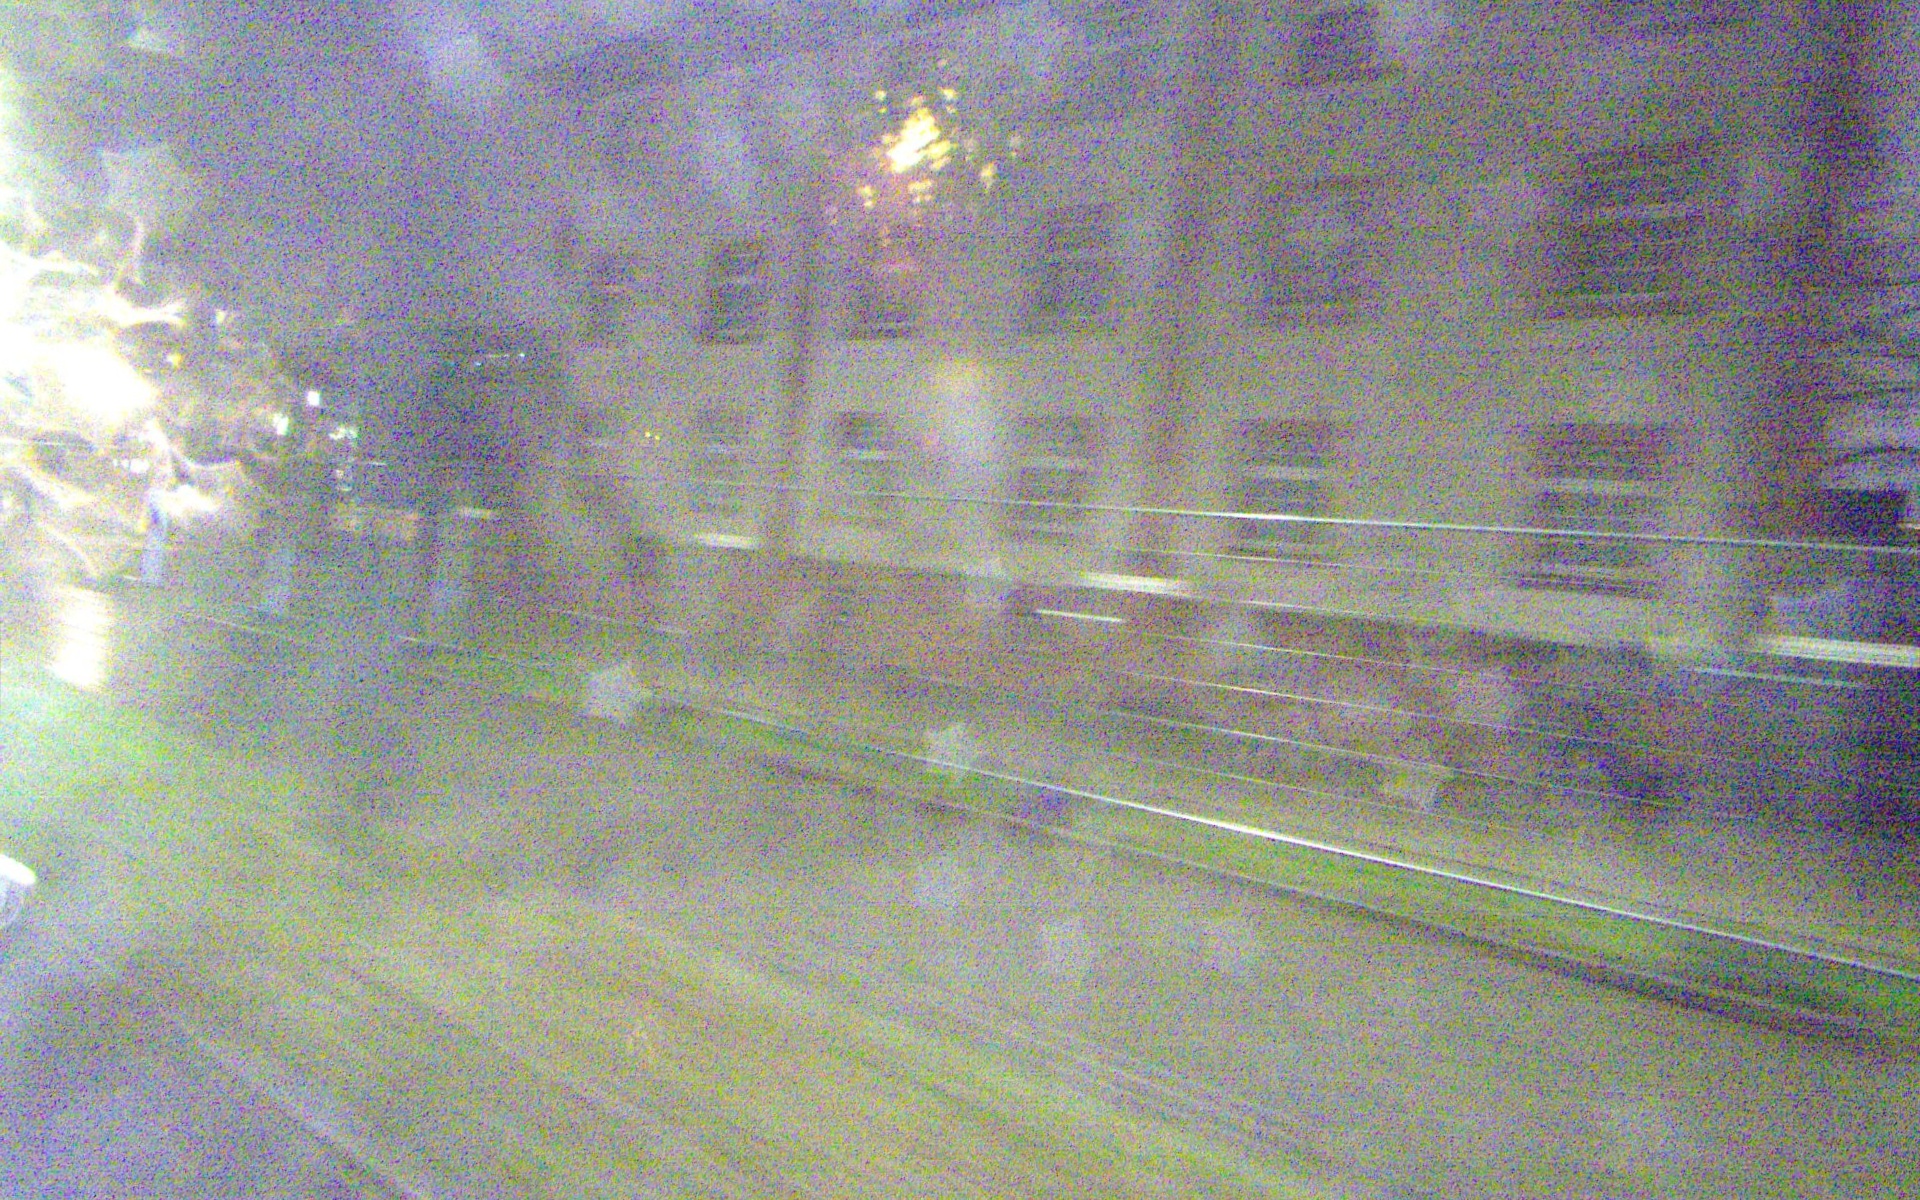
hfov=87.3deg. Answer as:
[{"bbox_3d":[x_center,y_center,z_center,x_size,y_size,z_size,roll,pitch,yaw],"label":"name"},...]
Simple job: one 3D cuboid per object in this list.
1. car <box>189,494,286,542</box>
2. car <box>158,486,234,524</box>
[{"bbox_3d":[-31.225,-3.562,43.433,4.188,1.485,1.829,8,0,32],"label":"car"},{"bbox_3d":[-39.130,-4.880,51.511,4.190,1.432,1.680,8,2,33],"label":"car"}]
